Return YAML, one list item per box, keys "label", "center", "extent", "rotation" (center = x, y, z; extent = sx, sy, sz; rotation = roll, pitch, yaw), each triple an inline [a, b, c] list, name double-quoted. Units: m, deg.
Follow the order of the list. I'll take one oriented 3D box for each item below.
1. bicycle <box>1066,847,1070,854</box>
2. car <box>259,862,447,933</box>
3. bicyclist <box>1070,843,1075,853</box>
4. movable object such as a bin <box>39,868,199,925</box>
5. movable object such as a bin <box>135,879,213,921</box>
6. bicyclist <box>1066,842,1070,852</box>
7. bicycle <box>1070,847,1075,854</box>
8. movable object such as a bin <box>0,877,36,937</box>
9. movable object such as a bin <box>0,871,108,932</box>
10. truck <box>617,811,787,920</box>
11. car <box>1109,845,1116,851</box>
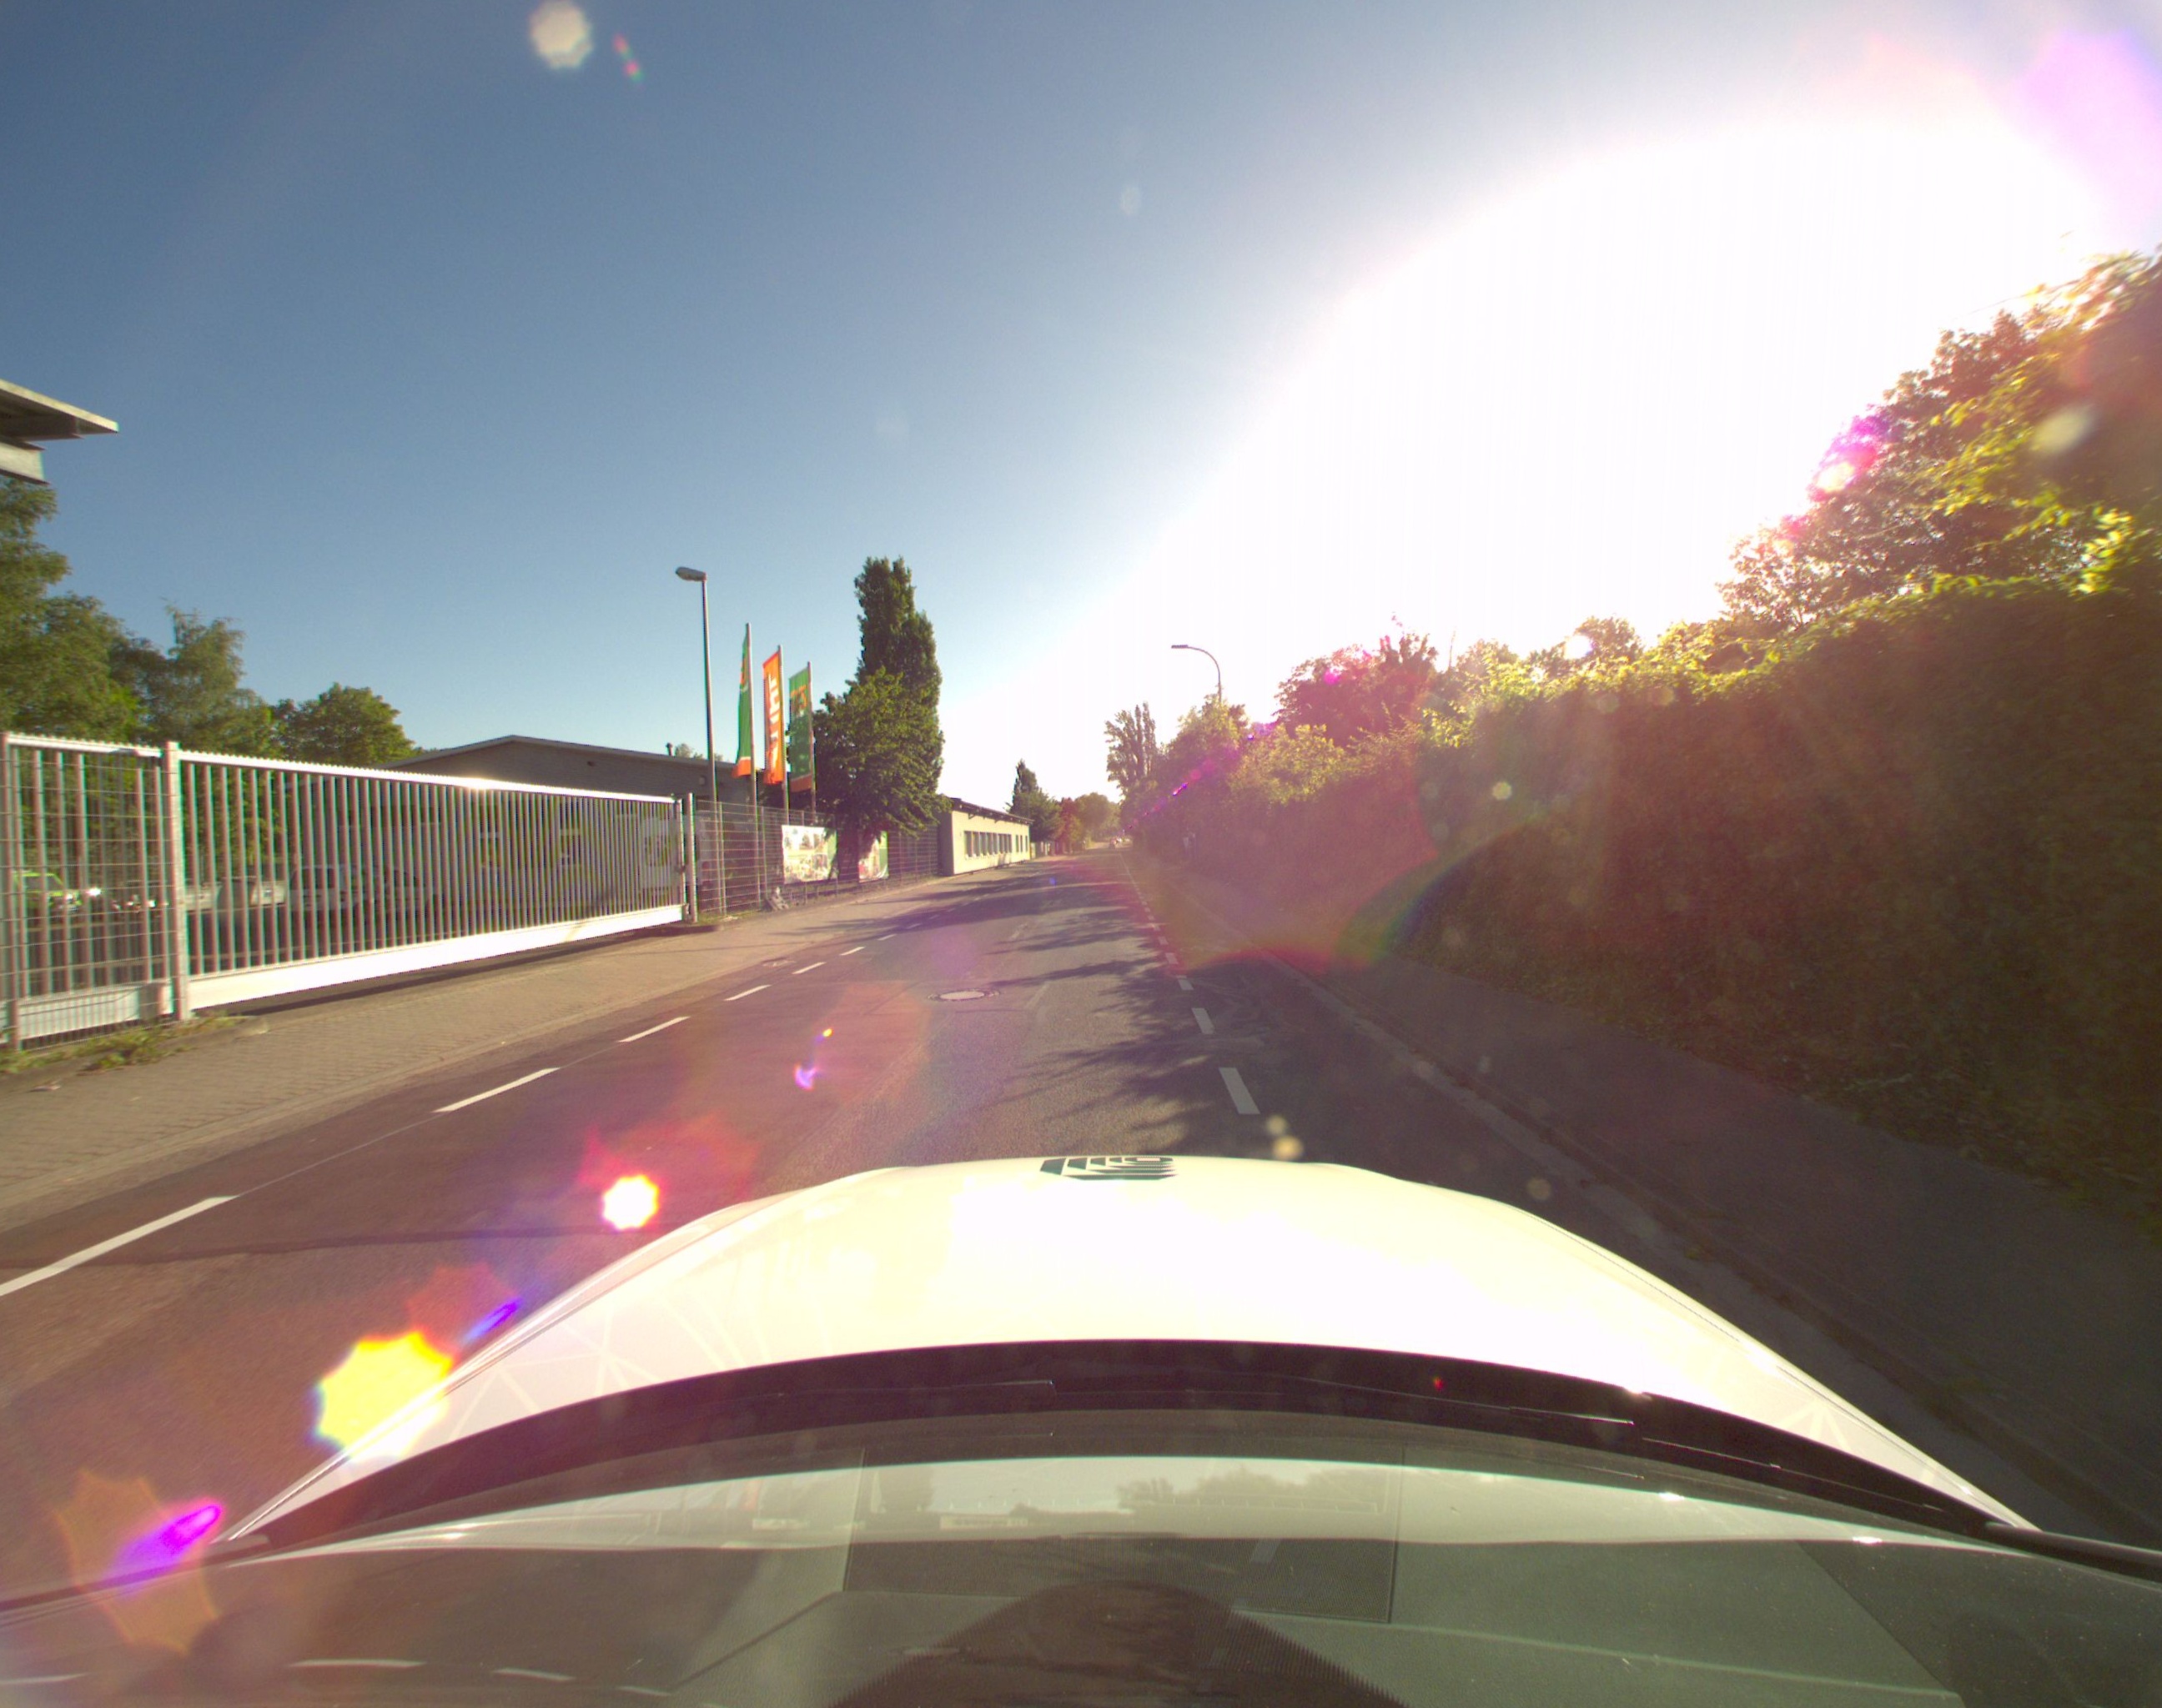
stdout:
- label: "bicycle"
  center: [-2.025, -0.545, 126.535]
  extent: [0.560, 1.034, 1.352]
  rotation: [-1, 1, 2]
- label: "car"
  center: [-22.116, 1.238, 25.002]
  extent: [1.986, 1.815, 4.002]
  rotation: [-3, 1, 2]
- label: "bicyclist"
  center: [-1.321, -0.943, 125.760]
  extent: [0.686, 1.532, 0.723]
  rotation: [-1, 0, 2]
- label: "movable object such as a bin"
  center: [-39.161, 1.706, 33.250]
  extent: [3.975, 2.013, 2.000]
  rotation: [-2, 1, -1]
- label: "movable object such as a bin"
  center: [-40.013, 1.993, 35.947]
  extent: [1.787, 1.670, 1.360]
  rotation: [-2, 1, -1]
- label: "bicyclist"
  center: [-2.043, -1.152, 126.452]
  extent: [0.558, 1.534, 0.690]
  rotation: [-1, 0, 2]
- label: "bicycle"
  center: [-1.315, -0.525, 125.790]
  extent: [0.686, 1.034, 1.352]
  rotation: [-1, 1, 2]
- label: "movable object such as a bin"
  center: [-38.987, 1.912, 27.756]
  extent: [3.975, 2.013, 2.000]
  rotation: [-2, 1, -1]
- label: "movable object such as a bin"
  center: [-39.141, 1.775, 30.019]
  extent: [3.975, 2.013, 2.000]
  rotation: [-2, 1, -1]
- label: "truck"
  center: [-11.033, 0.260, 24.338]
  extent: [2.071, 2.761, 5.768]
  rotation: [-3, 1, 2]
- label: "car"
  center: [9.005, -1.838, 234.036]
  extent: [1.934, 1.651, 4.312]
  rotation: [-1, 1, 2]
